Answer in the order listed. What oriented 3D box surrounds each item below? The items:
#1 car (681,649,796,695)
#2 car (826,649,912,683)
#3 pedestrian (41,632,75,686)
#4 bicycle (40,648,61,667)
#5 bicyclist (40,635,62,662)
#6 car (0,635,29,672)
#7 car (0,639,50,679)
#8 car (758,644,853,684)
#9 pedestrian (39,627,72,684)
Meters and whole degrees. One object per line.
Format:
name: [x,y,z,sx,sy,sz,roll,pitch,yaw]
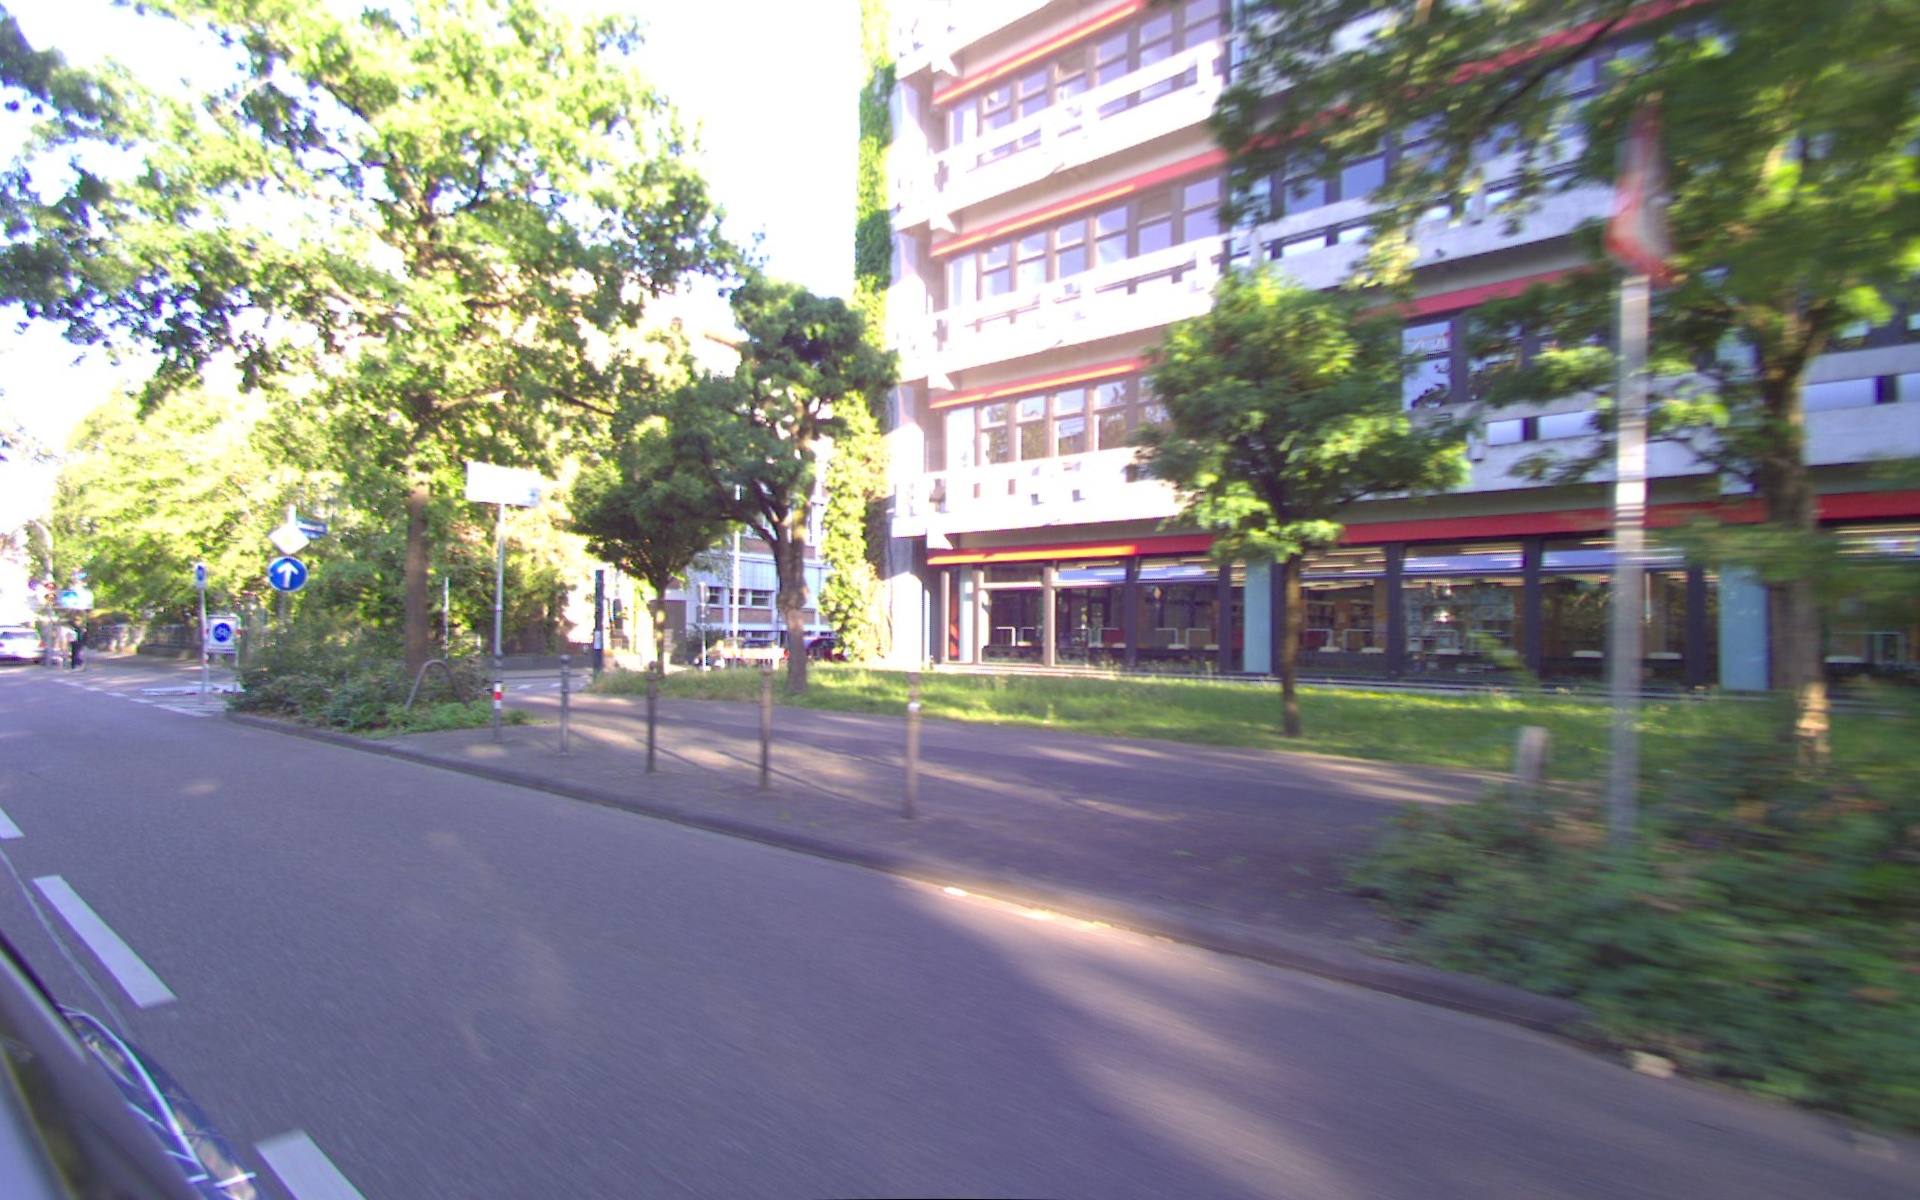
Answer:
car: [-7.796,2.536,35.933,1.770,1.460,3.922,1,-2,30]
car: [-3.816,2.764,42.922,1.770,1.301,3.762,1,-2,30]
pedestrian: [-29.042,1.882,32.580,0.673,1.688,0.773,-3,-2,44]
bicycle: [-50.390,3.186,56.086,2.146,1.021,0.617,-2,-4,42]
bicyclist: [-50.261,2.667,55.944,1.059,1.465,0.742,-2,-4,43]
car: [-42.522,2.348,44.590,4.107,1.580,1.753,-2,-2,41]
car: [-37.945,2.344,40.510,4.107,1.494,1.753,-2,-2,41]
car: [-5.962,2.475,39.391,1.770,1.417,3.608,1,-2,30]
pedestrian: [-29.835,1.821,33.379,0.673,1.850,0.773,-3,-2,44]
